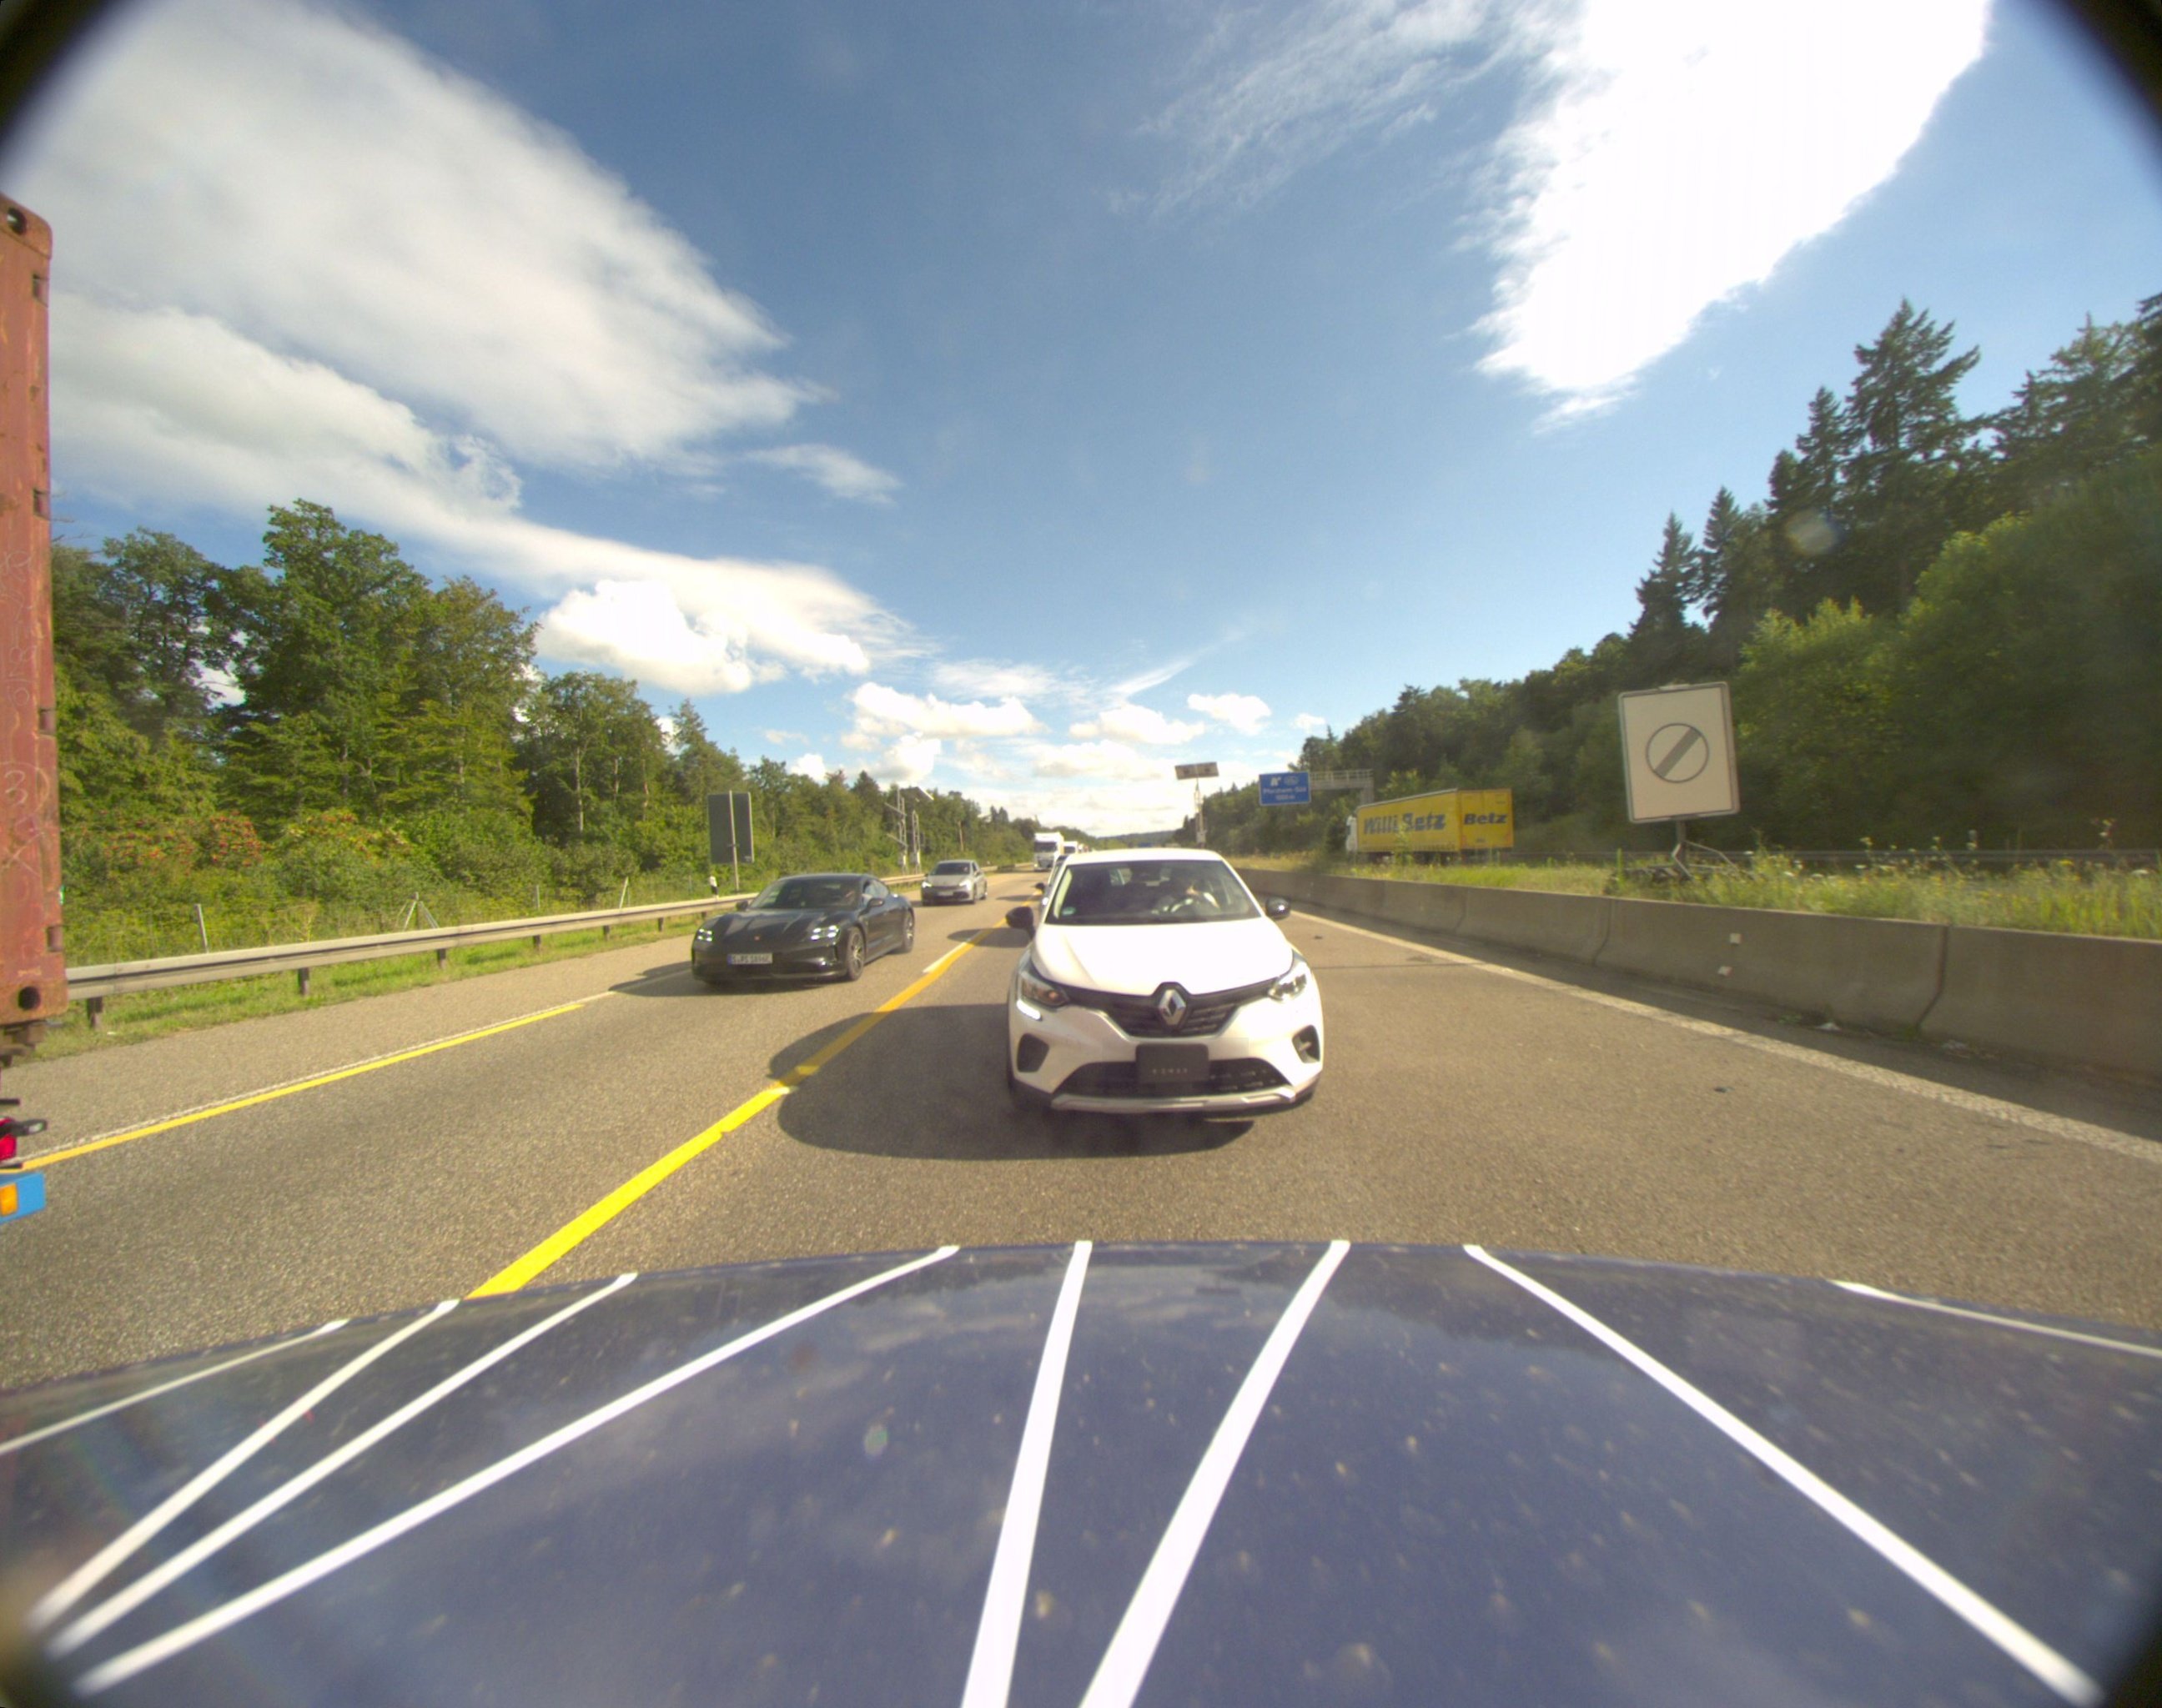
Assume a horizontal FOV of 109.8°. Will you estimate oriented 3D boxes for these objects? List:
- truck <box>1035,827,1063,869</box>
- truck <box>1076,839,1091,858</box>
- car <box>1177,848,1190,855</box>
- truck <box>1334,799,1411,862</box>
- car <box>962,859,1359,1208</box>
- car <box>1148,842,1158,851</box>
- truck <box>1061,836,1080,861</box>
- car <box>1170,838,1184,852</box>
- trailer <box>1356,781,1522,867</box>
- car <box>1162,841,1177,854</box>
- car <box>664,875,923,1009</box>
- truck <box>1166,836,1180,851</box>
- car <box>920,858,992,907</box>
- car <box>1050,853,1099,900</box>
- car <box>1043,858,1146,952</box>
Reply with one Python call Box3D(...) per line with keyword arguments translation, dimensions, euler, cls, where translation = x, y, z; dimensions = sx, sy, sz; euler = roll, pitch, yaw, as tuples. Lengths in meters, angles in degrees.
Box3D(translation=(-3.416, -0.630, 80.240), dimensions=(2.641, 4.092, 8.192), euler=(-2, 0, -3), cls="truck")
Box3D(translation=(0.597, -1.241, 168.349), dimensions=(2.640, 4.092, 8.196), euler=(-2, 0, 3), cls="truck")
Box3D(translation=(19.086, -0.477, 141.894), dimensions=(1.963, 1.355, 4.287), euler=(-2, 1, 1), cls="car")
Box3D(translation=(19.438, -1.549, 51.085), dimensions=(2.834, 3.886, 5.948), euler=(-2, 1, 1), cls="truck")
Box3D(translation=(0.411, 0.878, 5.579), dimensions=(1.840, 1.528, 3.882), euler=(-2, 1, 1), cls="car")
Box3D(translation=(20.448, -2.115, 215.516), dimensions=(2.165, 2.437, 6.330), euler=(-3, 1, 1), cls="car")
Box3D(translation=(-1.739, -0.923, 130.182), dimensions=(2.640, 4.092, 8.196), euler=(-2, 0, 3), cls="truck")
Box3D(translation=(23.924, -2.298, 190.181), dimensions=(2.493, 3.351, 7.451), euler=(-2, 1, 0), cls="car")
Box3D(translation=(19.302, -1.489, 42.603), dimensions=(2.834, 3.900, 13.938), euler=(-2, 1, 1), cls="trailer")
Box3D(translation=(14.689, -1.059, 126.650), dimensions=(1.998, 2.002, 4.831), euler=(-2, 1, 1), cls="car")
Box3D(translation=(-3.793, 1.081, 11.022), dimensions=(1.933, 1.342, 4.477), euler=(-2, 0, 1), cls="car")
Box3D(translation=(25.427, -2.989, 210.435), dimensions=(2.807, 3.969, 10.185), euler=(-2, 0, 1), cls="truck")
Box3D(translation=(-4.340, 0.953, 26.961), dimensions=(1.762, 1.471, 3.967), euler=(-2, 1, 1), cls="car")
Box3D(translation=(-0.189, 0.788, 28.319), dimensions=(1.633, 1.548, 3.754), euler=(-2, 0, 1), cls="car")
Box3D(translation=(0.260, 0.874, 14.673), dimensions=(1.692, 1.471, 3.754), euler=(-2, 1, 1), cls="car")
